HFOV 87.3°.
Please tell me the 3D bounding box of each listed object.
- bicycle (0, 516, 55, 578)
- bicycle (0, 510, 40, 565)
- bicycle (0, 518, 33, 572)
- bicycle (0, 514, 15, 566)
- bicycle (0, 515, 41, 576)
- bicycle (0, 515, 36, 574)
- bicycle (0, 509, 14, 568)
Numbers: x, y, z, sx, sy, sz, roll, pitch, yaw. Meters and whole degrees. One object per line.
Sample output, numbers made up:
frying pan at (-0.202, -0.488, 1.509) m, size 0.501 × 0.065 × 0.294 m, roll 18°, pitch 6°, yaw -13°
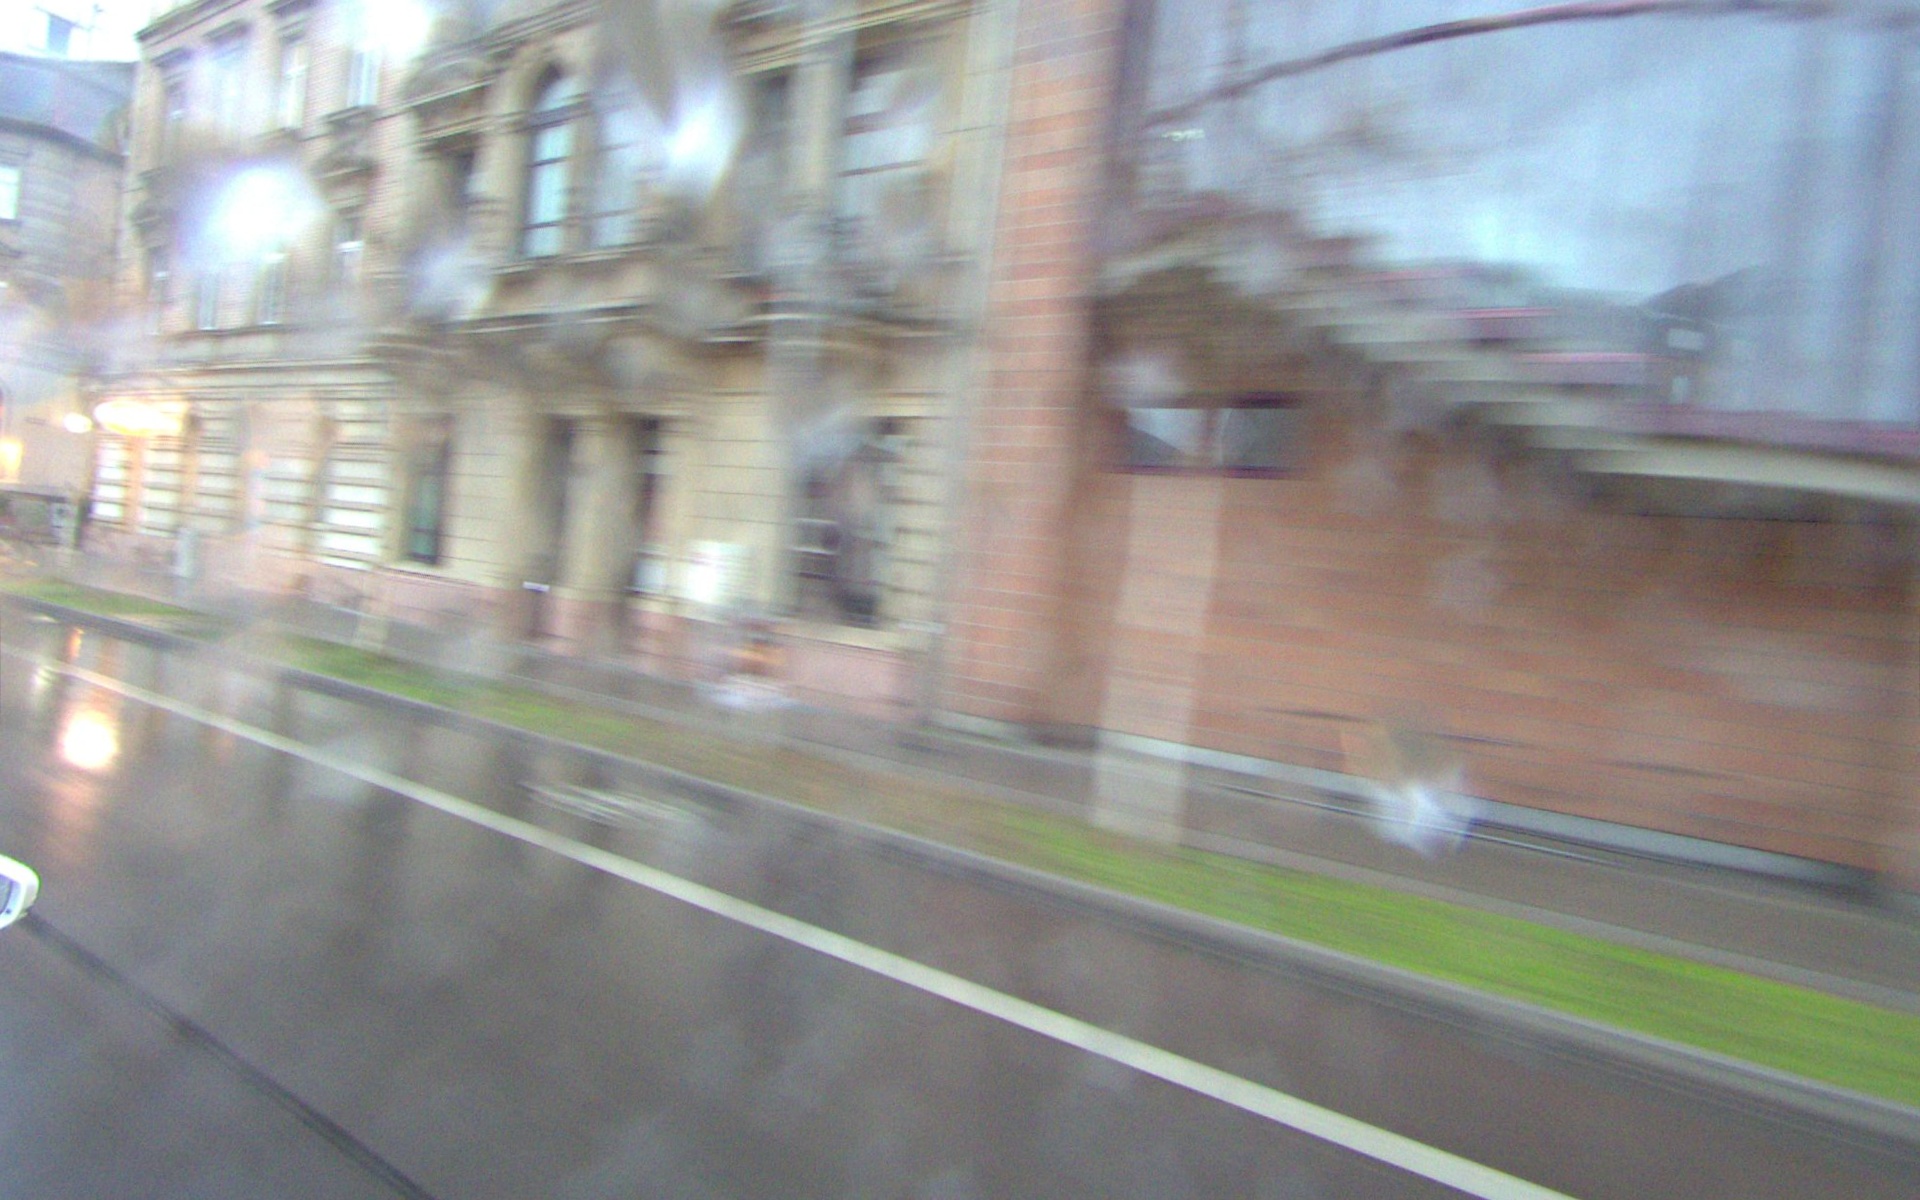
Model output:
bicycle at (-17.385, -0.989, 17.968) m, size 0.365 × 1.068 × 1.731 m, roll 7°, pitch 1°, yaw 30°
bicycle at (-19.858, -1.308, 20.084) m, size 0.418 × 1.069 × 2.145 m, roll 8°, pitch 3°, yaw 30°
bicycle at (-20.323, -1.194, 20.402) m, size 0.476 × 1.068 × 2.146 m, roll 7°, pitch 1°, yaw 30°
bicycle at (-19.457, -1.214, 19.210) m, size 0.418 × 0.984 × 2.008 m, roll 7°, pitch 3°, yaw 30°
bicycle at (-17.833, -1.039, 18.175) m, size 0.365 × 1.068 × 1.731 m, roll 7°, pitch 1°, yaw 30°
bicycle at (-18.339, -1.089, 18.633) m, size 0.365 × 1.068 × 1.731 m, roll 7°, pitch 1°, yaw 30°
bicycle at (-19.097, -1.220, 18.808) m, size 0.418 × 1.110 × 2.008 m, roll 7°, pitch 3°, yaw 30°
